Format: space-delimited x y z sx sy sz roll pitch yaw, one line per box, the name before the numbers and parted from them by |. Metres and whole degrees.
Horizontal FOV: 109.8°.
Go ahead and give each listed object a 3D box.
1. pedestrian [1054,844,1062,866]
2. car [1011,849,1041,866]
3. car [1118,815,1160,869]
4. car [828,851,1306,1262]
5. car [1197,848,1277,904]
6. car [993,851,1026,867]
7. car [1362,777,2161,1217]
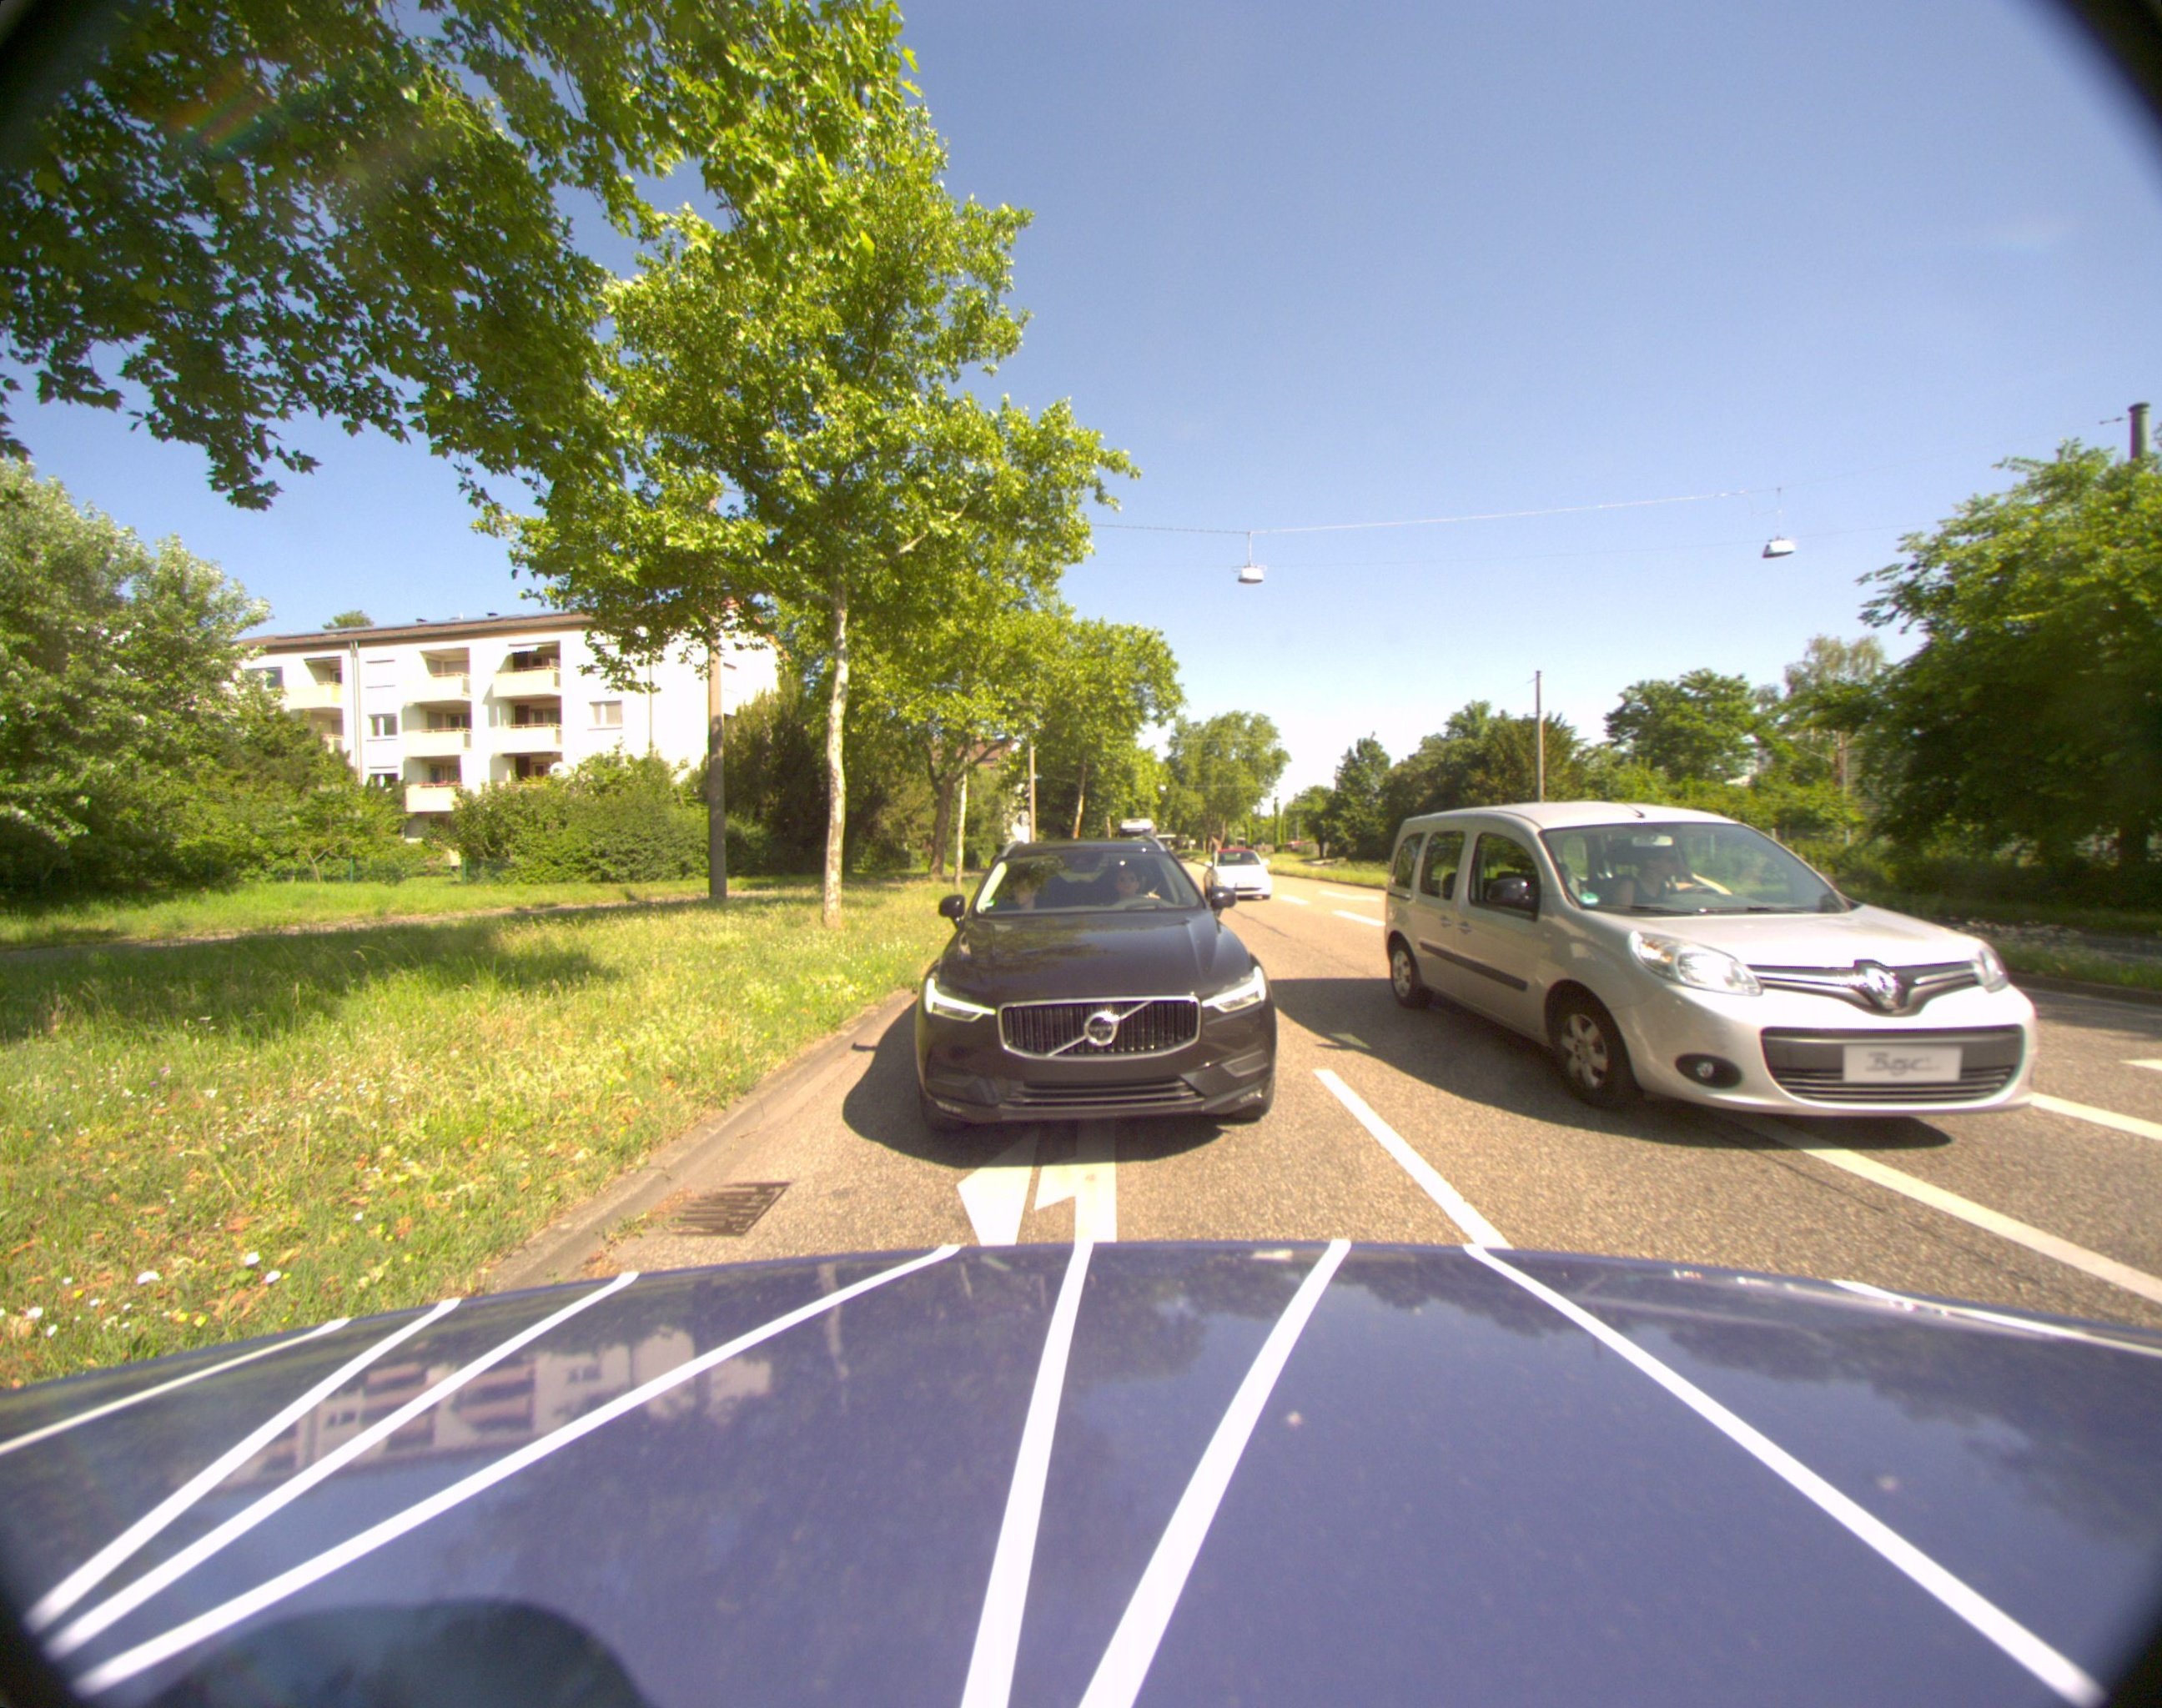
pedestrian | -2.078 0.121 69.315 0.639 2.002 0.480 0 1 10
car | -5.308 0.321 73.815 1.504 1.633 4.094 0 1 17
car | 4.408 -0.899 58.669 2.902 3.898 7.141 0 1 2
car | -0.023 0.820 5.534 1.904 1.606 4.872 -2 1 1
car | 4.629 0.594 23.164 1.689 1.482 4.376 -3 1 3
car | -6.447 0.415 68.564 1.504 1.364 4.094 0 1 17
car | 3.664 0.589 5.370 1.876 1.829 4.375 -1 1 2
